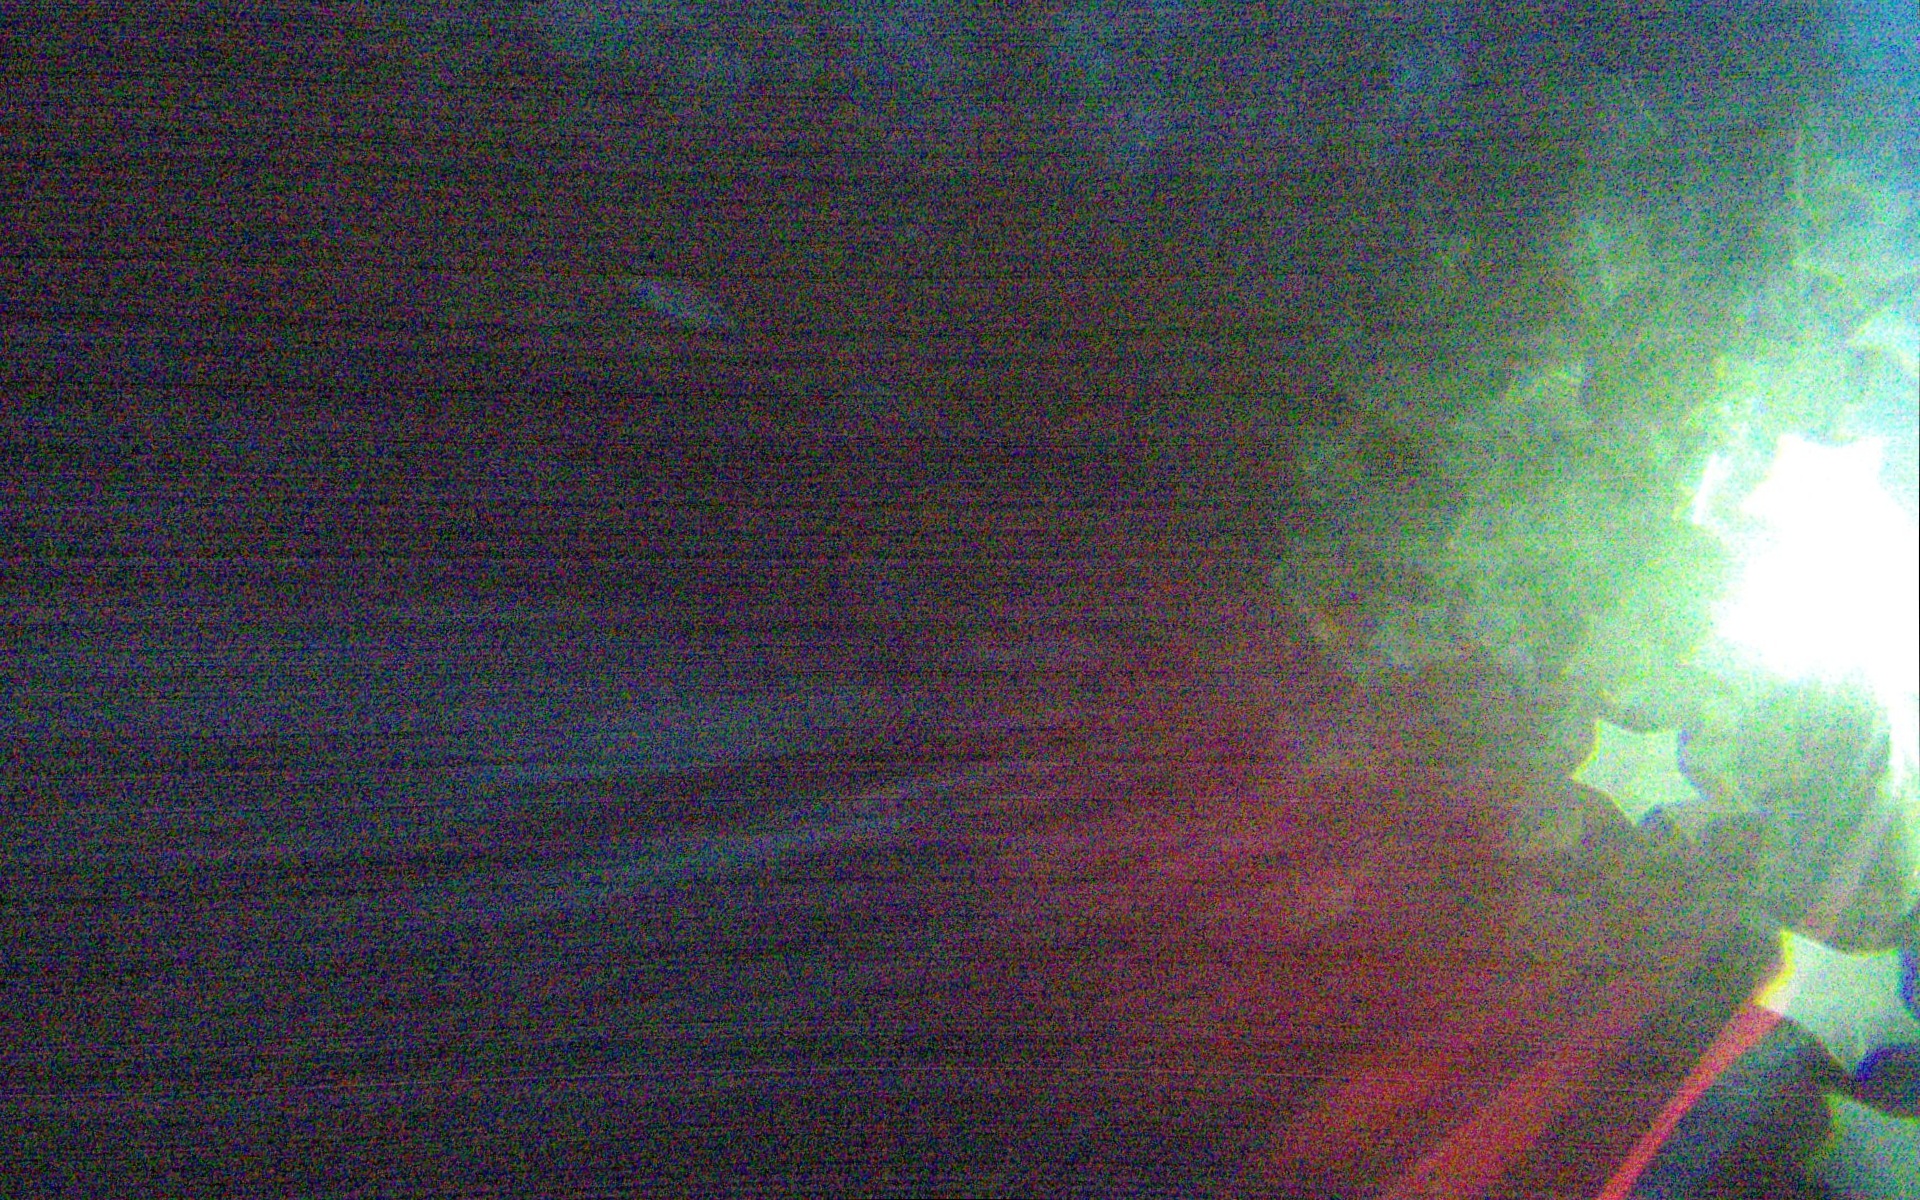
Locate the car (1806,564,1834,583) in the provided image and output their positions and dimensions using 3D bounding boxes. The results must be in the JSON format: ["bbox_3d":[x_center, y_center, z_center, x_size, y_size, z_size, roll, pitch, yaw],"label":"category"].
[{"bbox_3d":[86.696,-2.684,102.038,1.774,1.866,4.109,0,2,35],"label":"car"}]

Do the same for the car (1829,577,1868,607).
[{"bbox_3d":[59.108,-0.559,67.380,1.790,1.873,3.592,0,2,39],"label":"car"}]

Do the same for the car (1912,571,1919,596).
[{"bbox_3d":[58.414,-1.027,60.524,1.991,1.428,3.942,0,2,41],"label":"car"}]
